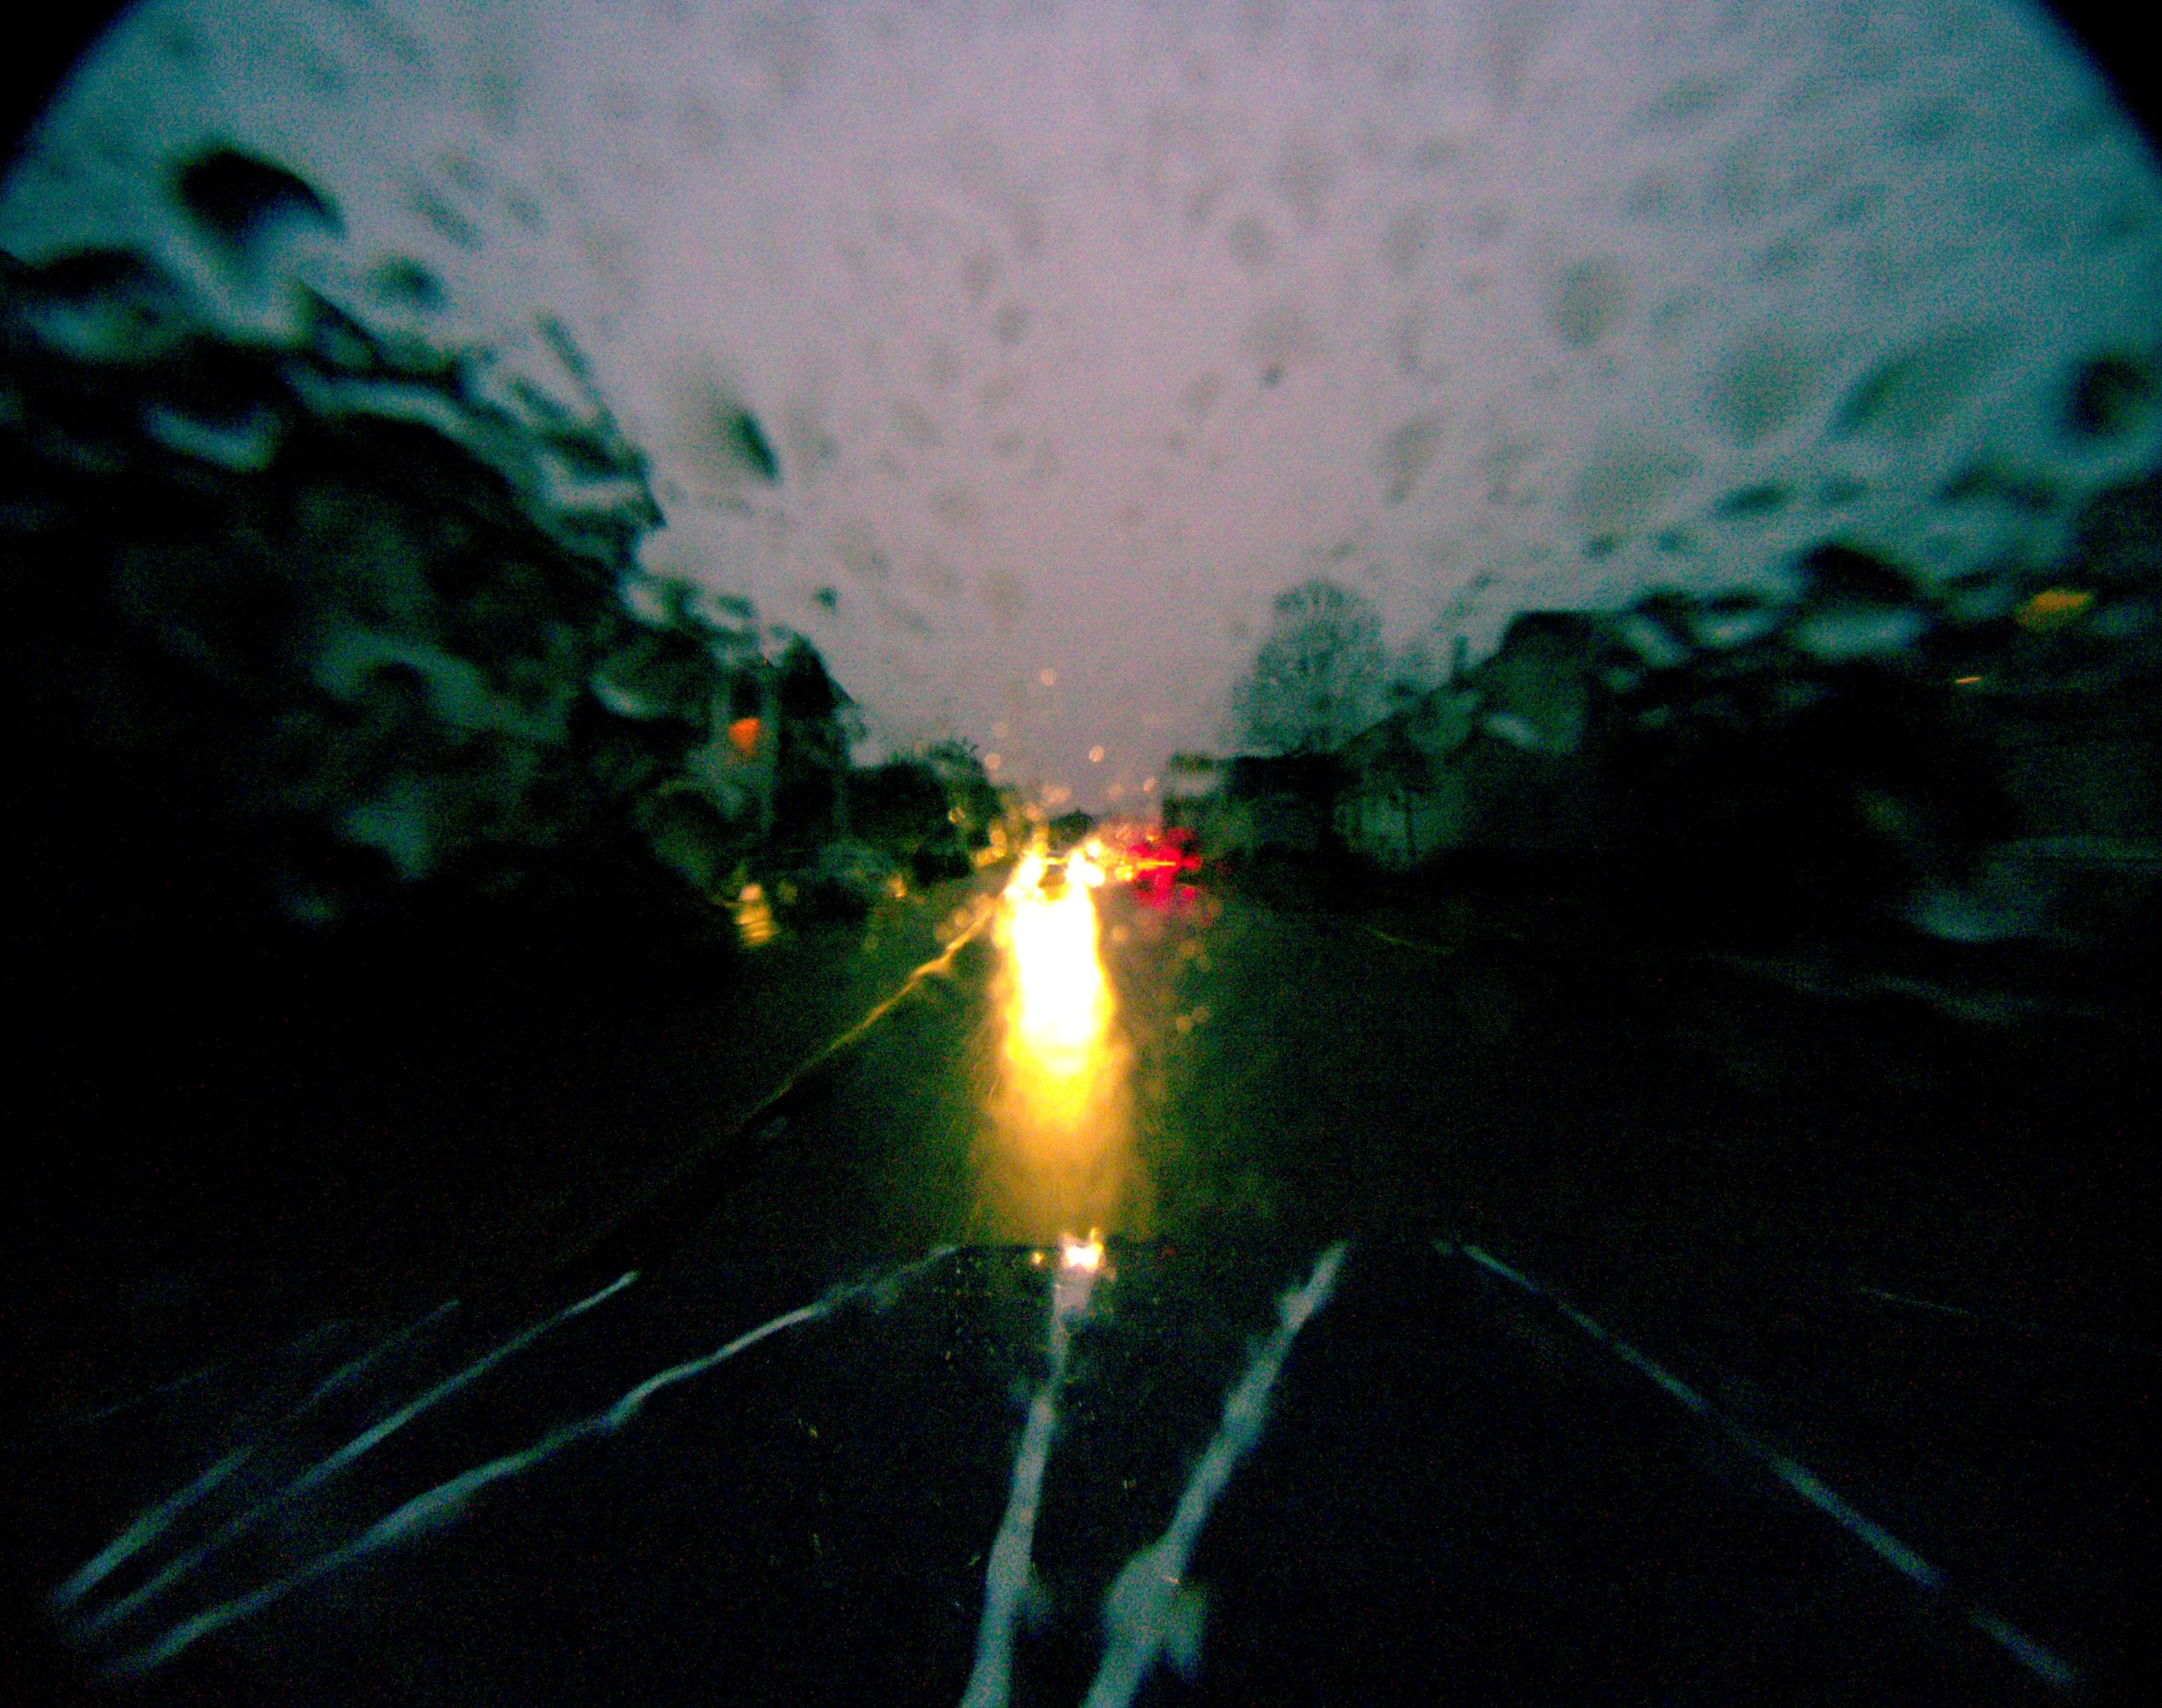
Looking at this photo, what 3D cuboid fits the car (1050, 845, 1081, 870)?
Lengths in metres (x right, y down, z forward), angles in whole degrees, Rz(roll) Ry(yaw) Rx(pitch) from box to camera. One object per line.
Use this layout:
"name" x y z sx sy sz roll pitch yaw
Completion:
"car" -1.056 0.220 53.922 1.998 1.660 4.000 -1 1 1

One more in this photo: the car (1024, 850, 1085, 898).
"car" -0.948 0.659 27.335 1.999 1.575 3.999 0 1 -2

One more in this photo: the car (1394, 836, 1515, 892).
"car" 12.795 0.281 26.411 1.998 1.746 4.567 -1 1 1

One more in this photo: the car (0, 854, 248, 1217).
"car" -5.641 0.813 1.835 1.898 1.545 4.755 -1 1 2

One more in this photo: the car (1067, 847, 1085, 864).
"car" -0.517 0.160 80.027 1.775 1.609 3.872 -2 1 1

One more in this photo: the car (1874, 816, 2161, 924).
"car" 17.641 0.261 13.606 4.561 1.790 1.912 0 1 7

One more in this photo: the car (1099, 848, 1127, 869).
"car" 2.242 0.306 54.542 1.708 1.433 4.423 1 1 -2

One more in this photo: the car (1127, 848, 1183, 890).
"car" 3.015 0.580 31.686 1.819 1.623 4.223 0 1 -1

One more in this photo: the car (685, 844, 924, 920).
"car" -6.186 0.606 17.372 4.745 1.620 1.907 0 1 2

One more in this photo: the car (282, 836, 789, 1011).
"car" -5.676 0.663 8.408 4.113 1.696 1.999 0 2 -1
